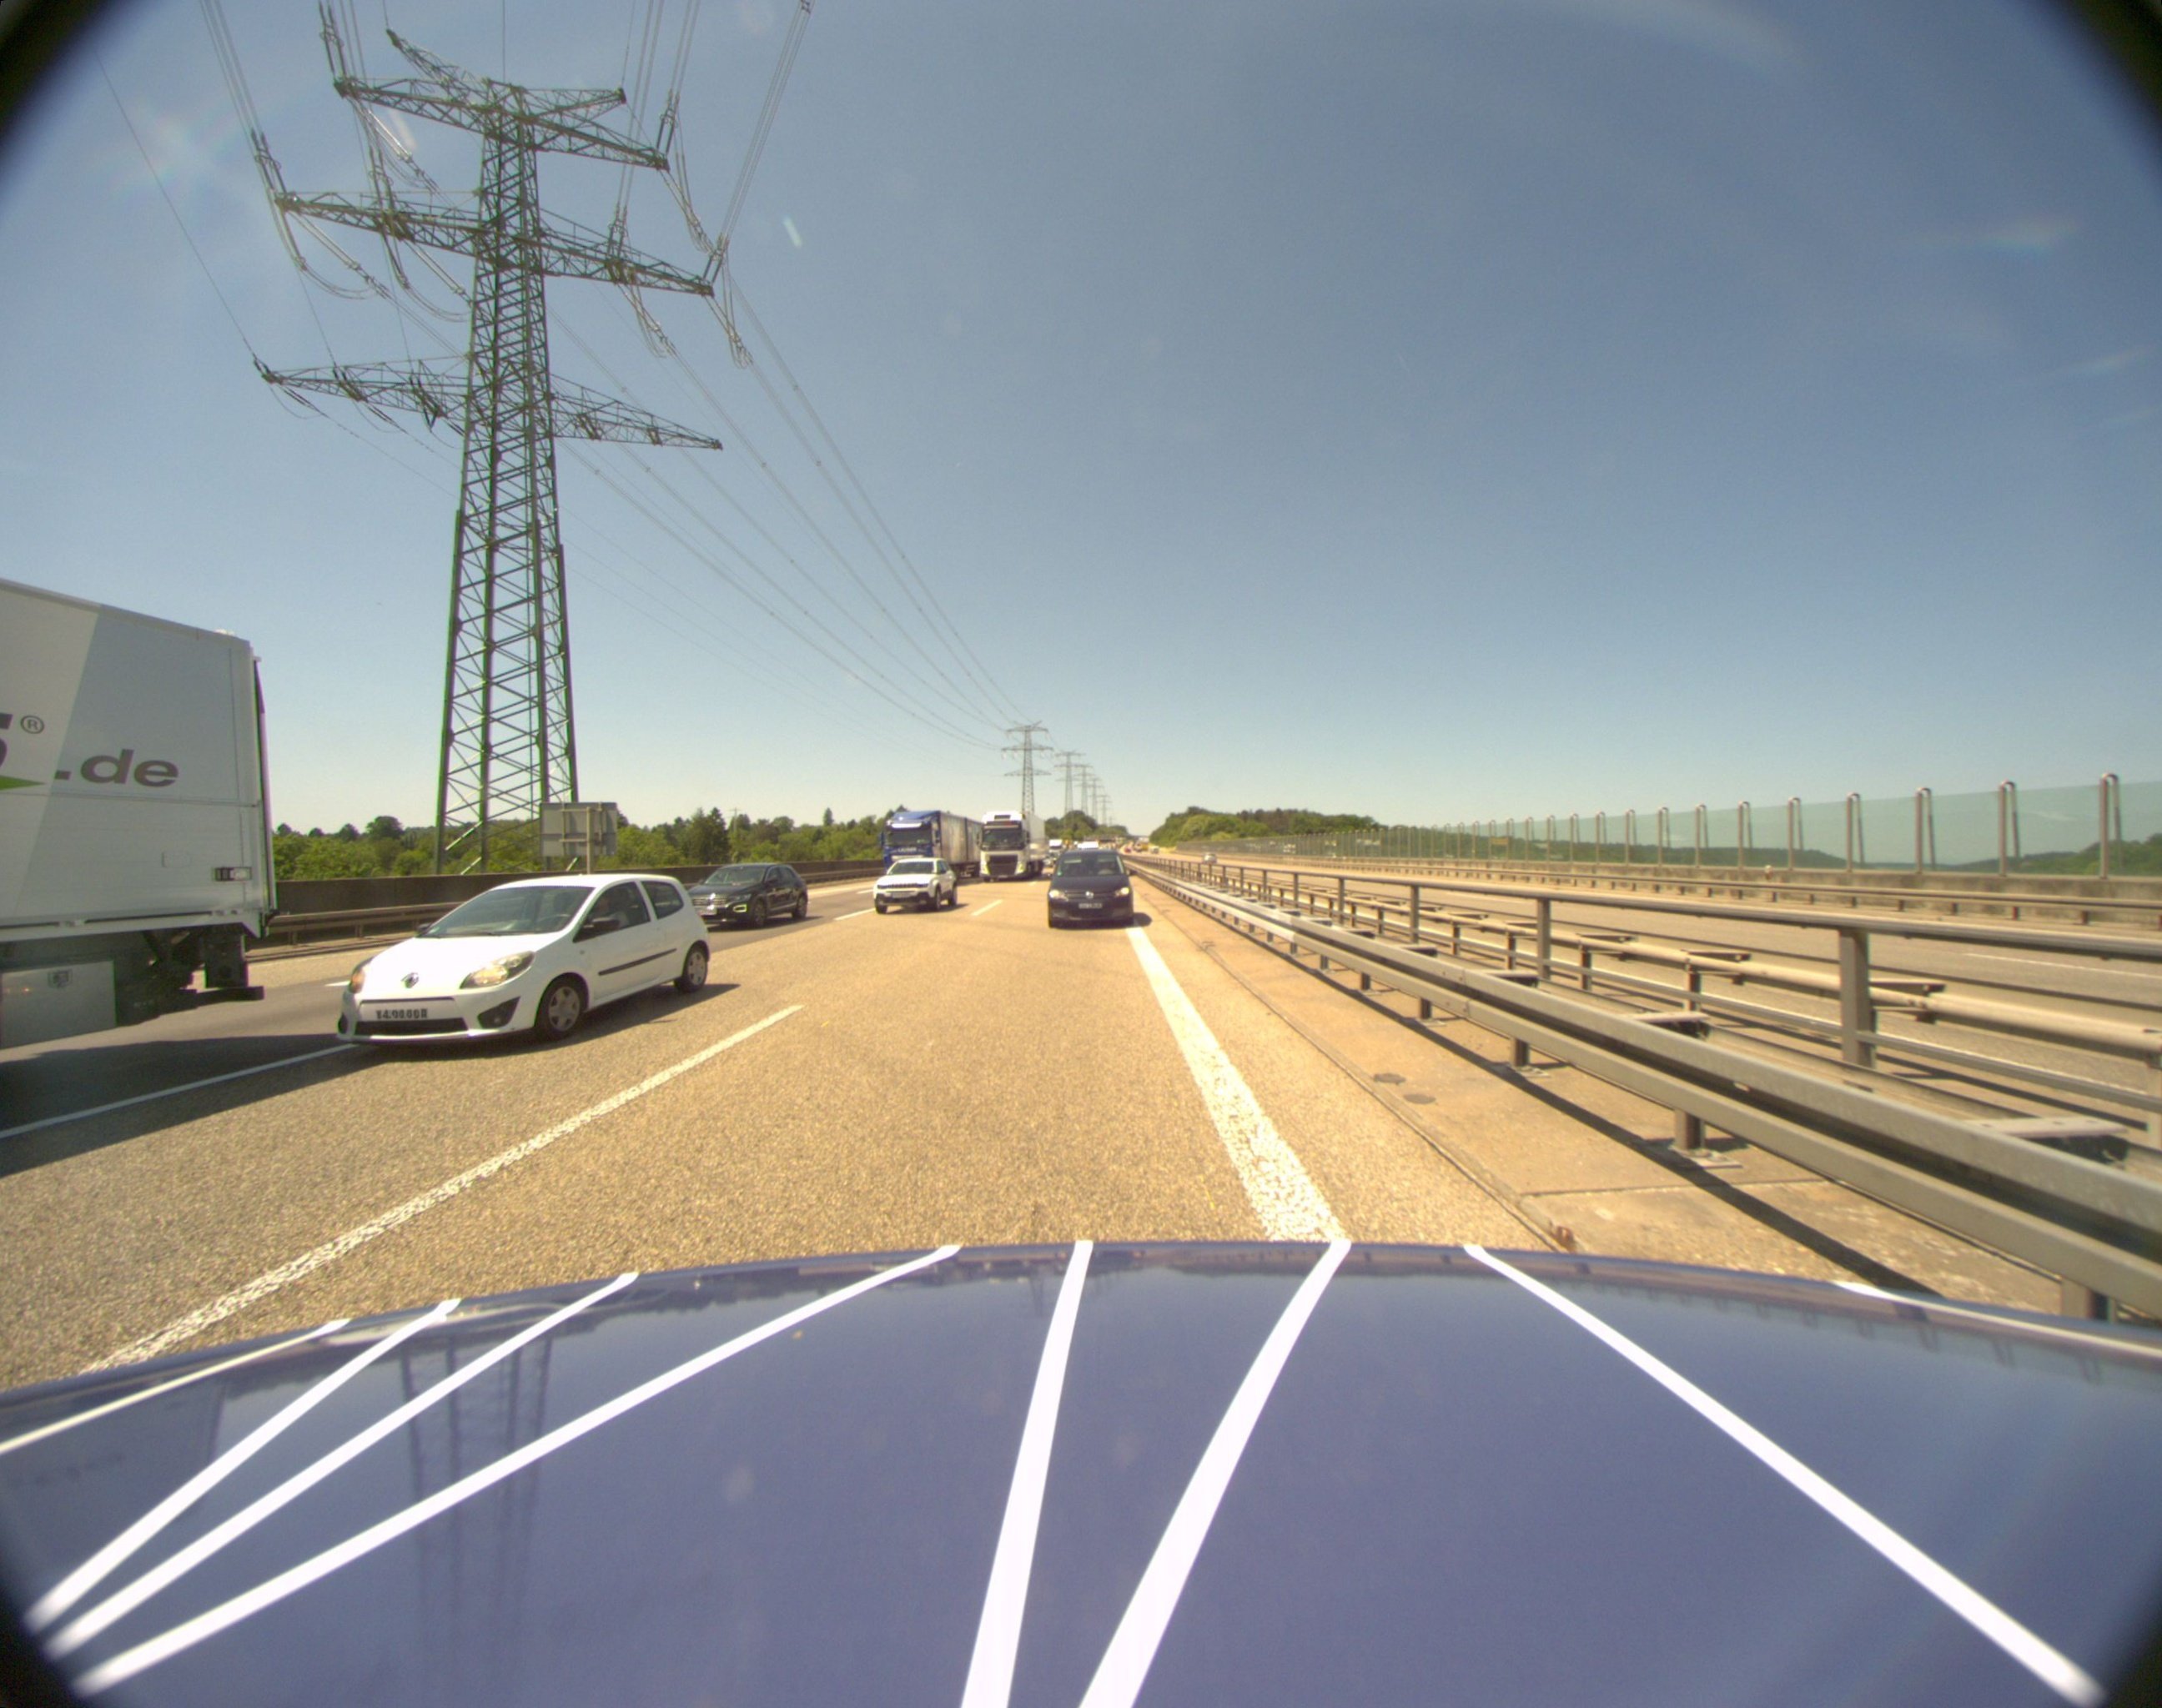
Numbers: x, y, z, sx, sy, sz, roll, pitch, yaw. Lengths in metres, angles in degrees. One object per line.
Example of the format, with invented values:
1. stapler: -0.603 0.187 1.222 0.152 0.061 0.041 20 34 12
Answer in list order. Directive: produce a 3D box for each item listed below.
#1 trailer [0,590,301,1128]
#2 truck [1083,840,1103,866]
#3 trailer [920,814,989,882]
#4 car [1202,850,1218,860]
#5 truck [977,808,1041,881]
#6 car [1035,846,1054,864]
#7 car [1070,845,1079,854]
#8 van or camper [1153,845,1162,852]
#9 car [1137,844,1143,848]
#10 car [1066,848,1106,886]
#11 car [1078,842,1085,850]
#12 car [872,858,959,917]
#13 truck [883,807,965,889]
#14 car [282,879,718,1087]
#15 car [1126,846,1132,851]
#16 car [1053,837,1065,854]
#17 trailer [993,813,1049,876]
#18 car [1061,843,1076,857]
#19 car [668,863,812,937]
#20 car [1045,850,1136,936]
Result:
1. trailer: -8.630 0.081 2.747 2.851 3.573 8.291 -2 0 1
2. truck: 1.354 -0.152 84.780 2.100 2.700 5.864 -2 1 1
3. trailer: -8.223 -0.465 50.741 2.543 3.971 10.883 -2 1 0
4. car: 18.125 0.147 106.670 1.608 1.386 3.676 1 1 1
5. truck: -4.084 -0.555 44.525 2.914 3.870 6.739 -2 1 0
6. car: -3.851 0.078 80.545 1.672 1.761 3.846 -2 1 1
7. car: -1.241 -0.875 149.303 1.701 1.599 3.639 -2 1 1
8. van or camper: 23.418 -1.728 232.900 1.998 2.199 5.536 1 1 0
9. car: 20.521 -2.690 265.281 1.805 1.378 4.262 0 1 1
10. car: 0.239 0.563 34.604 1.685 1.607 3.642 -2 0 0
11. car: 0.221 -2.221 212.336 1.890 2.002 3.999 -2 1 1
12. car: -4.822 0.921 22.633 1.722 1.526 3.753 -2 0 0
13. truck: -8.327 -0.324 41.316 2.517 3.945 7.927 -2 0 1
14. car: -5.408 1.072 7.757 1.583 1.432 3.629 -2 0 0
15. car: 15.530 -1.807 245.655 1.846 1.438 4.418 -2 1 1
16. car: -4.704 -1.847 161.846 2.273 3.304 6.288 -2 1 0
17. trailer: -4.000 -0.688 52.795 2.898 3.847 9.773 -2 1 1
18. car: -1.914 -0.649 116.232 1.998 2.002 3.999 -2 1 1
19. car: -8.255 1.046 18.786 1.709 1.497 3.888 -2 0 1
20. car: 0.198 0.752 16.785 1.739 1.607 3.911 -2 0 0
